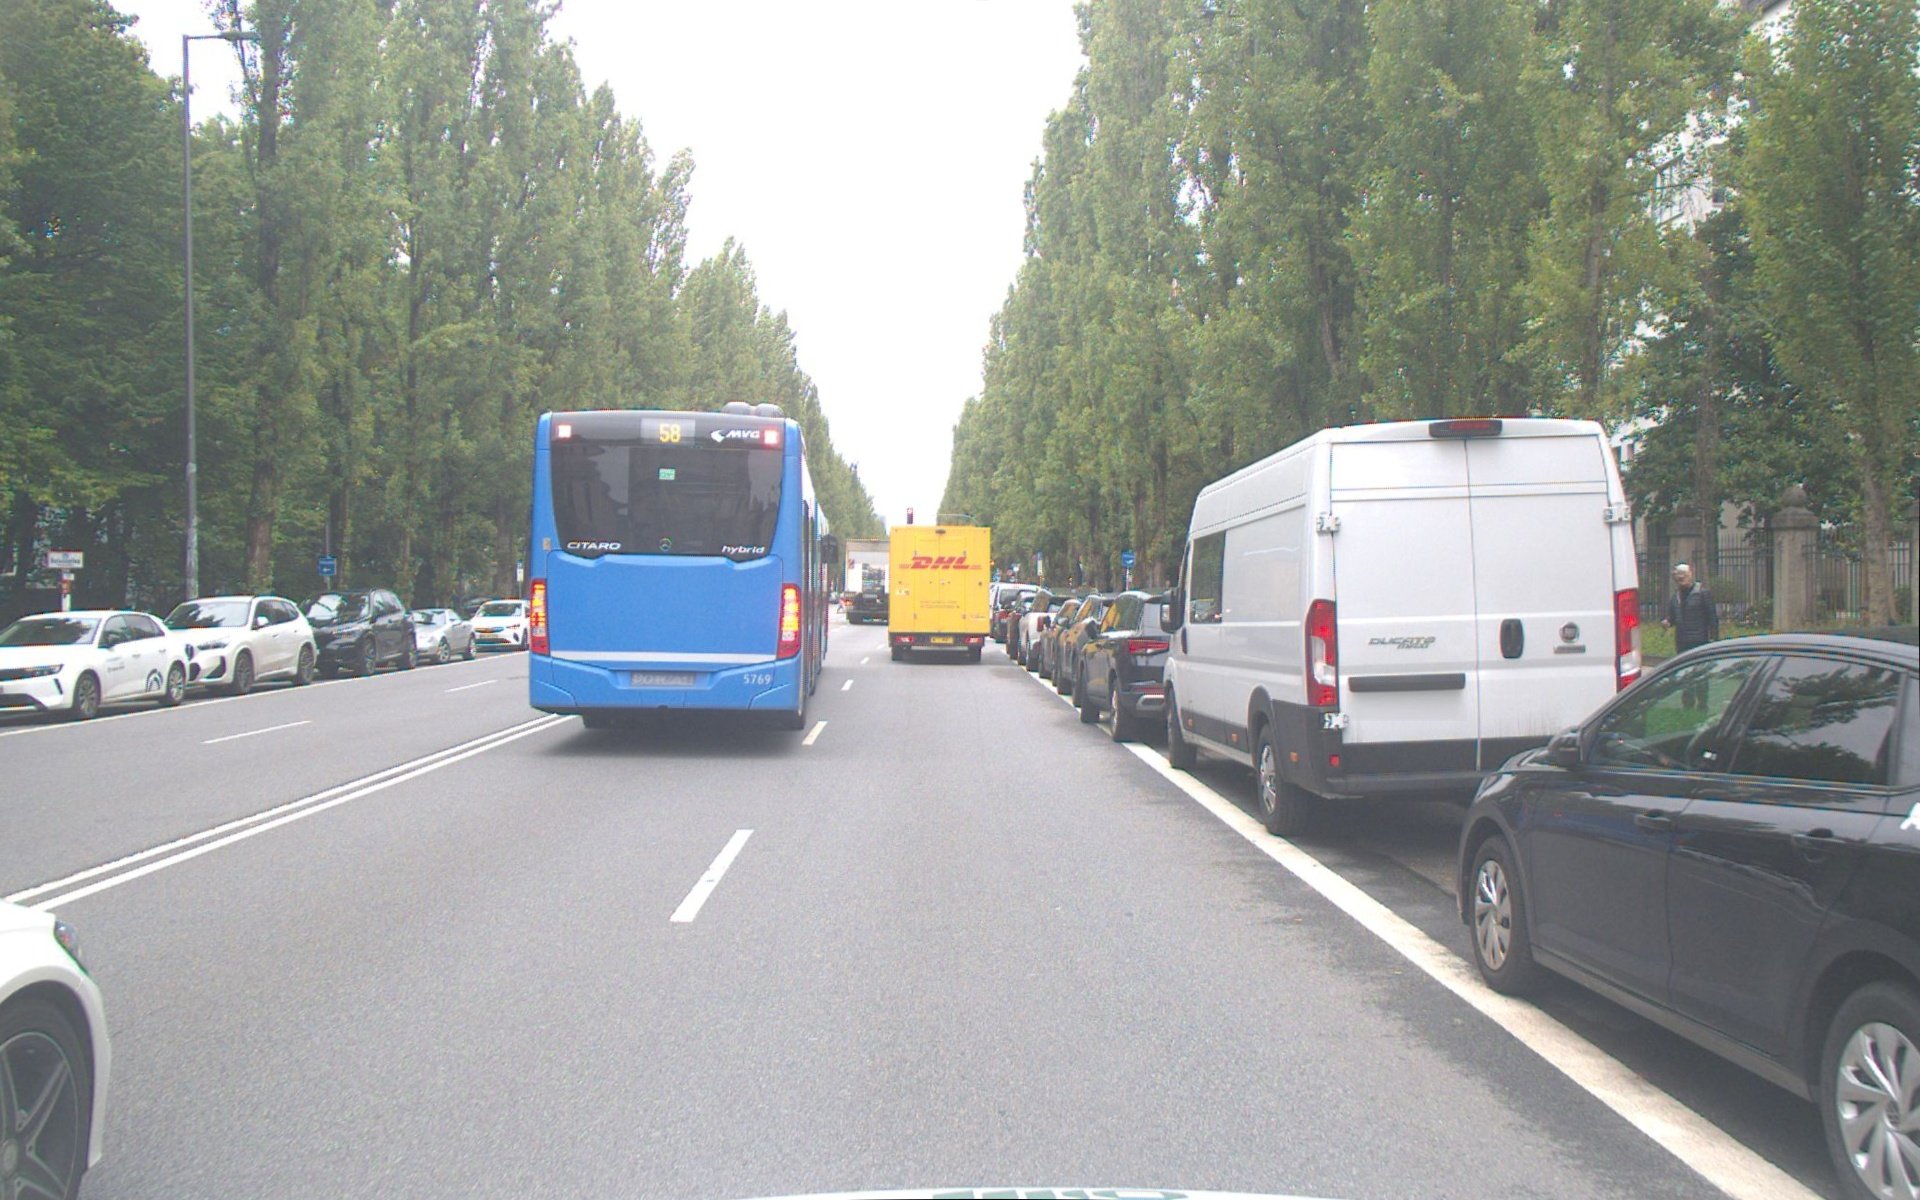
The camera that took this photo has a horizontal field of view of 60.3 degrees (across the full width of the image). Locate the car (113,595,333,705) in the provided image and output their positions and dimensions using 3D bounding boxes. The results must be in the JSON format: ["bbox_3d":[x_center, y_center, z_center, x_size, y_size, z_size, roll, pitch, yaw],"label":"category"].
[{"bbox_3d":[-12.516,0.778,28.426,1.749,1.616,4.460,-3,1,-1],"label":"car"}]

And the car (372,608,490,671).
[{"bbox_3d":[-12.691,0.910,39.916,1.548,1.327,4.028,-2,0,-1],"label":"car"}]

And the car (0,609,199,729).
[{"bbox_3d":[-12.343,0.901,22.965,1.642,1.447,4.236,-2,0,-2],"label":"car"}]

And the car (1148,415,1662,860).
[{"bbox_3d":[2.900,0.196,12.578,2.032,2.522,6.281,1,0,-2],"label":"car"}]

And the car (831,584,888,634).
[{"bbox_3d":[-3.834,0.305,63.959,1.994,1.833,4.506,-1,1,-1],"label":"car"}]

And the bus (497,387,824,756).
[{"bbox_3d":[-3.032,-0.287,19.286,2.799,3.269,9.052,0,0,-4],"label":"bus"}]

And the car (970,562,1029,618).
[{"bbox_3d":[1.486,-0.404,64.332,2.011,2.049,5.691,-1,1,-1],"label":"car"}]

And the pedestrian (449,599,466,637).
[{"bbox_3d":[-23.315,0.838,76.719,0.587,1.769,0.640,-1,0,-2],"label":"pedestrian"}]

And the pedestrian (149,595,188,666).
[{"bbox_3d":[-20.725,0.791,43.313,0.627,1.847,0.775,0,0,-2],"label":"pedestrian"}]

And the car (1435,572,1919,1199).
[{"bbox_3d":[3.002,0.690,5.207,1.719,1.475,3.999,2,0,-2],"label":"car"}]

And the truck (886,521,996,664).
[{"bbox_3d":[-0.516,-0.176,38.119,2.281,2.949,7.330,0,0,-2],"label":"truck"}]

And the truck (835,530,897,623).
[{"bbox_3d":[-4.380,-1.046,76.805,2.662,4.034,9.211,-1,0,-4],"label":"truck"}]

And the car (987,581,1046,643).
[{"bbox_3d":[1.879,0.389,55.886,1.769,2.011,4.235,0,0,-1],"label":"car"}]

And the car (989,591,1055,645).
[{"bbox_3d":[1.846,0.513,50.370,1.825,1.579,3.999,0,0,-1],"label":"car"}]

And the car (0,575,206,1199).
[{"bbox_3d":[-2.704,0.687,1.765,1.789,1.480,4.581,0,0,-2],"label":"car"}]

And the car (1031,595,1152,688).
[{"bbox_3d":[2.227,0.666,28.885,1.600,1.471,4.147,2,0,-2],"label":"car"}]

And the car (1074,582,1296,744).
[{"bbox_3d":[2.397,0.623,18.646,1.784,1.618,4.221,0,0,-2],"label":"car"}]

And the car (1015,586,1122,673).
[{"bbox_3d":[2.139,0.550,33.621,1.745,1.609,4.145,2,0,-2],"label":"car"}]

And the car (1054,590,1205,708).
[{"bbox_3d":[2.359,0.638,23.879,1.618,1.530,4.112,1,0,-2],"label":"car"}]

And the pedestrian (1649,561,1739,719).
[{"bbox_3d":[8.923,0.475,20.121,0.643,1.871,0.782,-1,0,-15],"label":"pedestrian"}]

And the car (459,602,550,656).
[{"bbox_3d":[-13.245,0.819,48.334,1.651,1.437,4.002,-2,0,-3],"label":"car"}]

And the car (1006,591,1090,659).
[{"bbox_3d":[2.032,0.546,39.253,1.690,1.521,4.323,0,0,-1],"label":"car"}]

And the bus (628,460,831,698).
[{"bbox_3d":[-3.642,-0.331,28.352,2.815,3.361,9.781,0,0,-4],"label":"bus"}]

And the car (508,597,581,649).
[{"bbox_3d":[-13.266,0.711,53.028,1.710,1.545,4.112,-2,0,-7],"label":"car"}]

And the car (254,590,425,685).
[{"bbox_3d":[-12.612,0.708,33.949,1.843,1.687,4.715,-3,1,-3],"label":"car"}]
